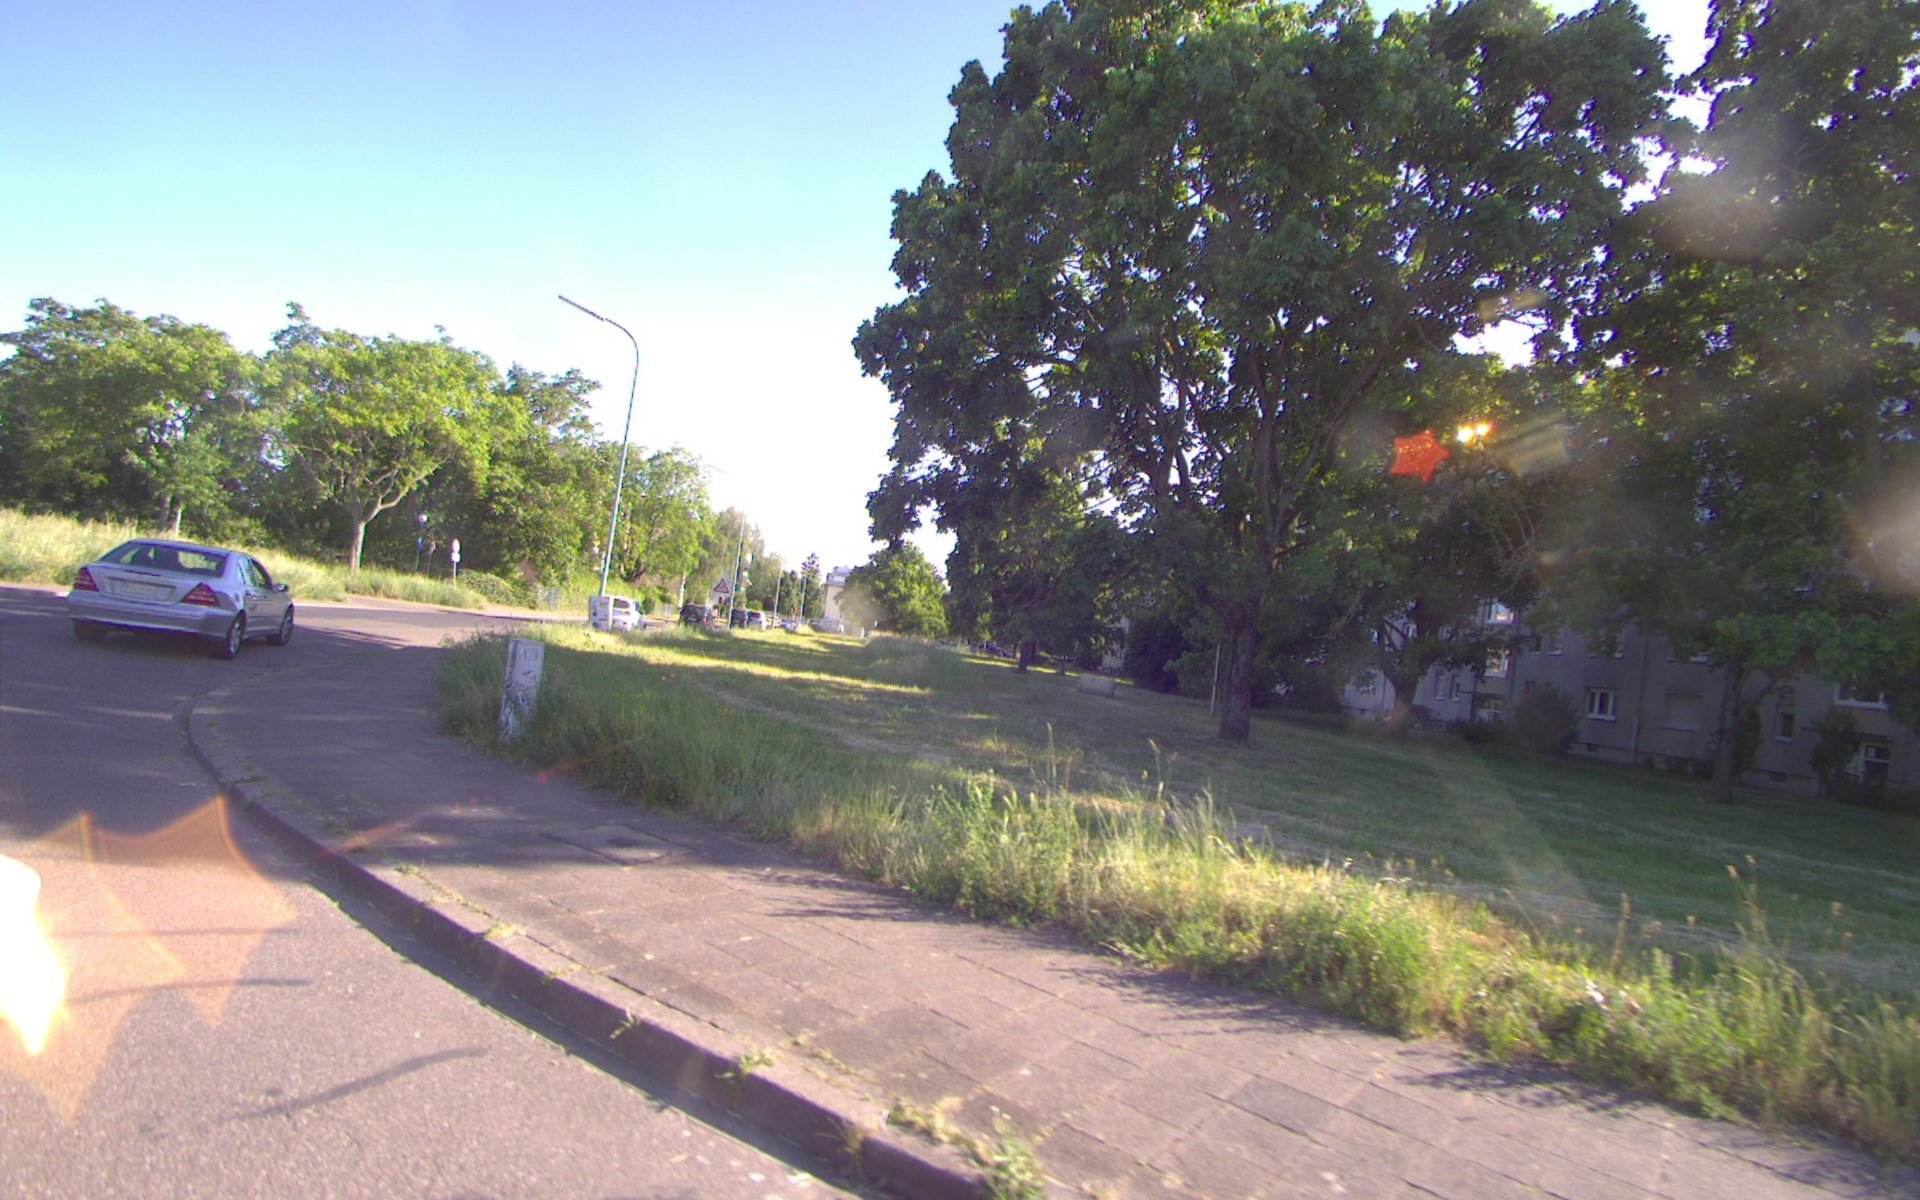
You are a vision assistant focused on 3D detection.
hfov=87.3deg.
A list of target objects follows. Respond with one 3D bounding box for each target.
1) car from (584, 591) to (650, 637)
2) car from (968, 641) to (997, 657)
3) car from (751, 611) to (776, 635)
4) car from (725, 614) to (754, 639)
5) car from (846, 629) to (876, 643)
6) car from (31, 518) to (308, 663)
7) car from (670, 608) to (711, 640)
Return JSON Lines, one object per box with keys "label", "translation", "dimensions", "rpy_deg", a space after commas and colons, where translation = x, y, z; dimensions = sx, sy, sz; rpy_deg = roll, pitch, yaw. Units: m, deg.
{"label": "car", "translation": [-13.814, 0.595, 40.750], "dimensions": [1.699, 1.495, 3.738], "rpy_deg": [10, -3, -9]}
{"label": "car", "translation": [3.057, 6.747, 138.936], "dimensions": [3.644, 1.635, 1.704], "rpy_deg": [7, -4, 10]}
{"label": "car", "translation": [-18.120, 2.135, 93.095], "dimensions": [1.675, 1.872, 3.849], "rpy_deg": [10, -2, -6]}
{"label": "car", "translation": [-18.094, 2.173, 82.658], "dimensions": [1.675, 1.779, 3.849], "rpy_deg": [10, -2, -6]}
{"label": "car", "translation": [-13.791, 5.008, 140.297], "dimensions": [3.644, 1.456, 1.704], "rpy_deg": [7, -4, 10]}
{"label": "car", "translation": [-10.848, -0.119, 14.220], "dimensions": [1.799, 1.479, 4.339], "rpy_deg": [9, -3, -23]}
{"label": "car", "translation": [-16.191, 1.442, 60.528], "dimensions": [1.674, 1.629, 3.997], "rpy_deg": [7, -2, -7]}
